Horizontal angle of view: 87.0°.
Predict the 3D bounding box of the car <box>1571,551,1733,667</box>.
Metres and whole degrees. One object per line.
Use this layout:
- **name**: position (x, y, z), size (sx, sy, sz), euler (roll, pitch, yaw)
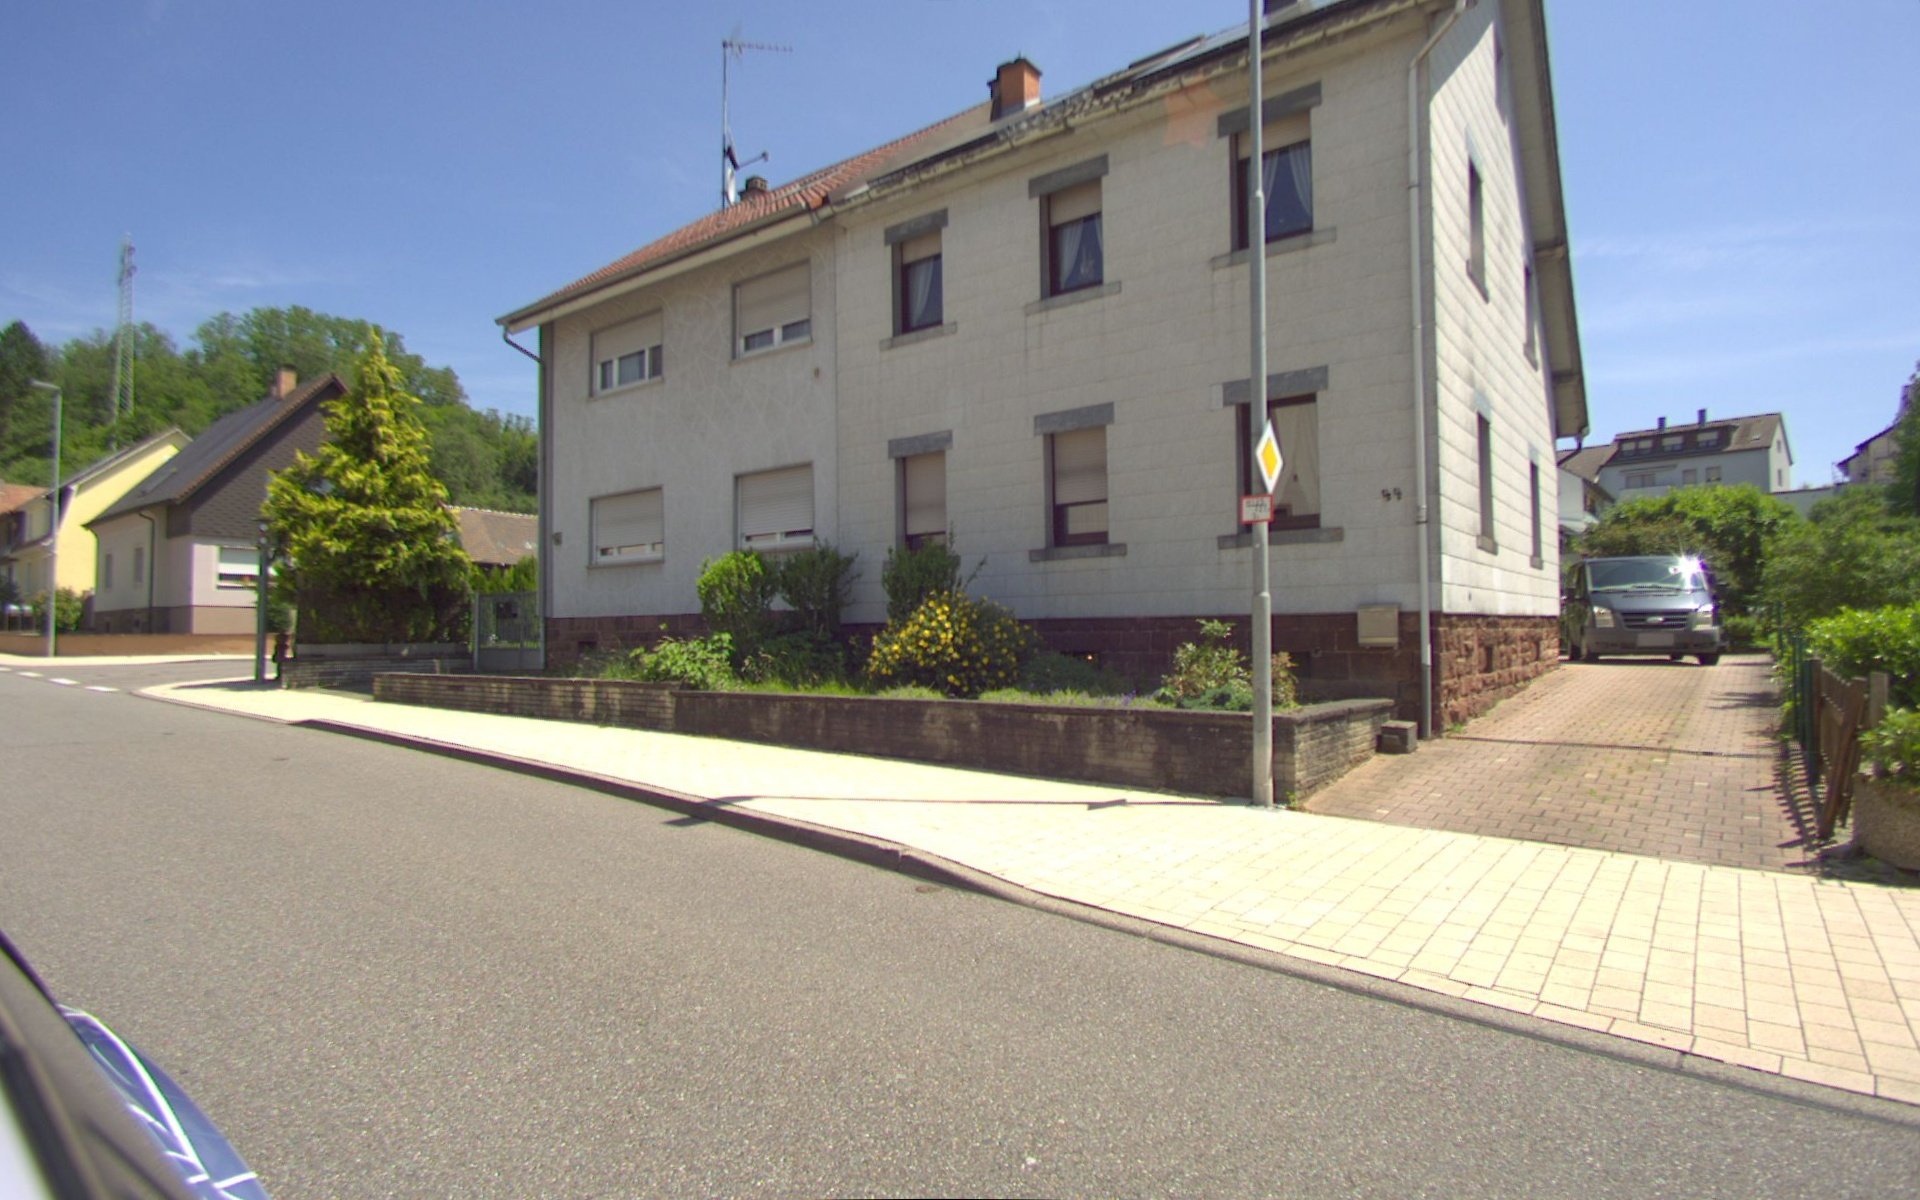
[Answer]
- **car**: position (12.517, 0.172, 18.583), size (1.991, 1.847, 4.287), euler (0, -1, 29)
